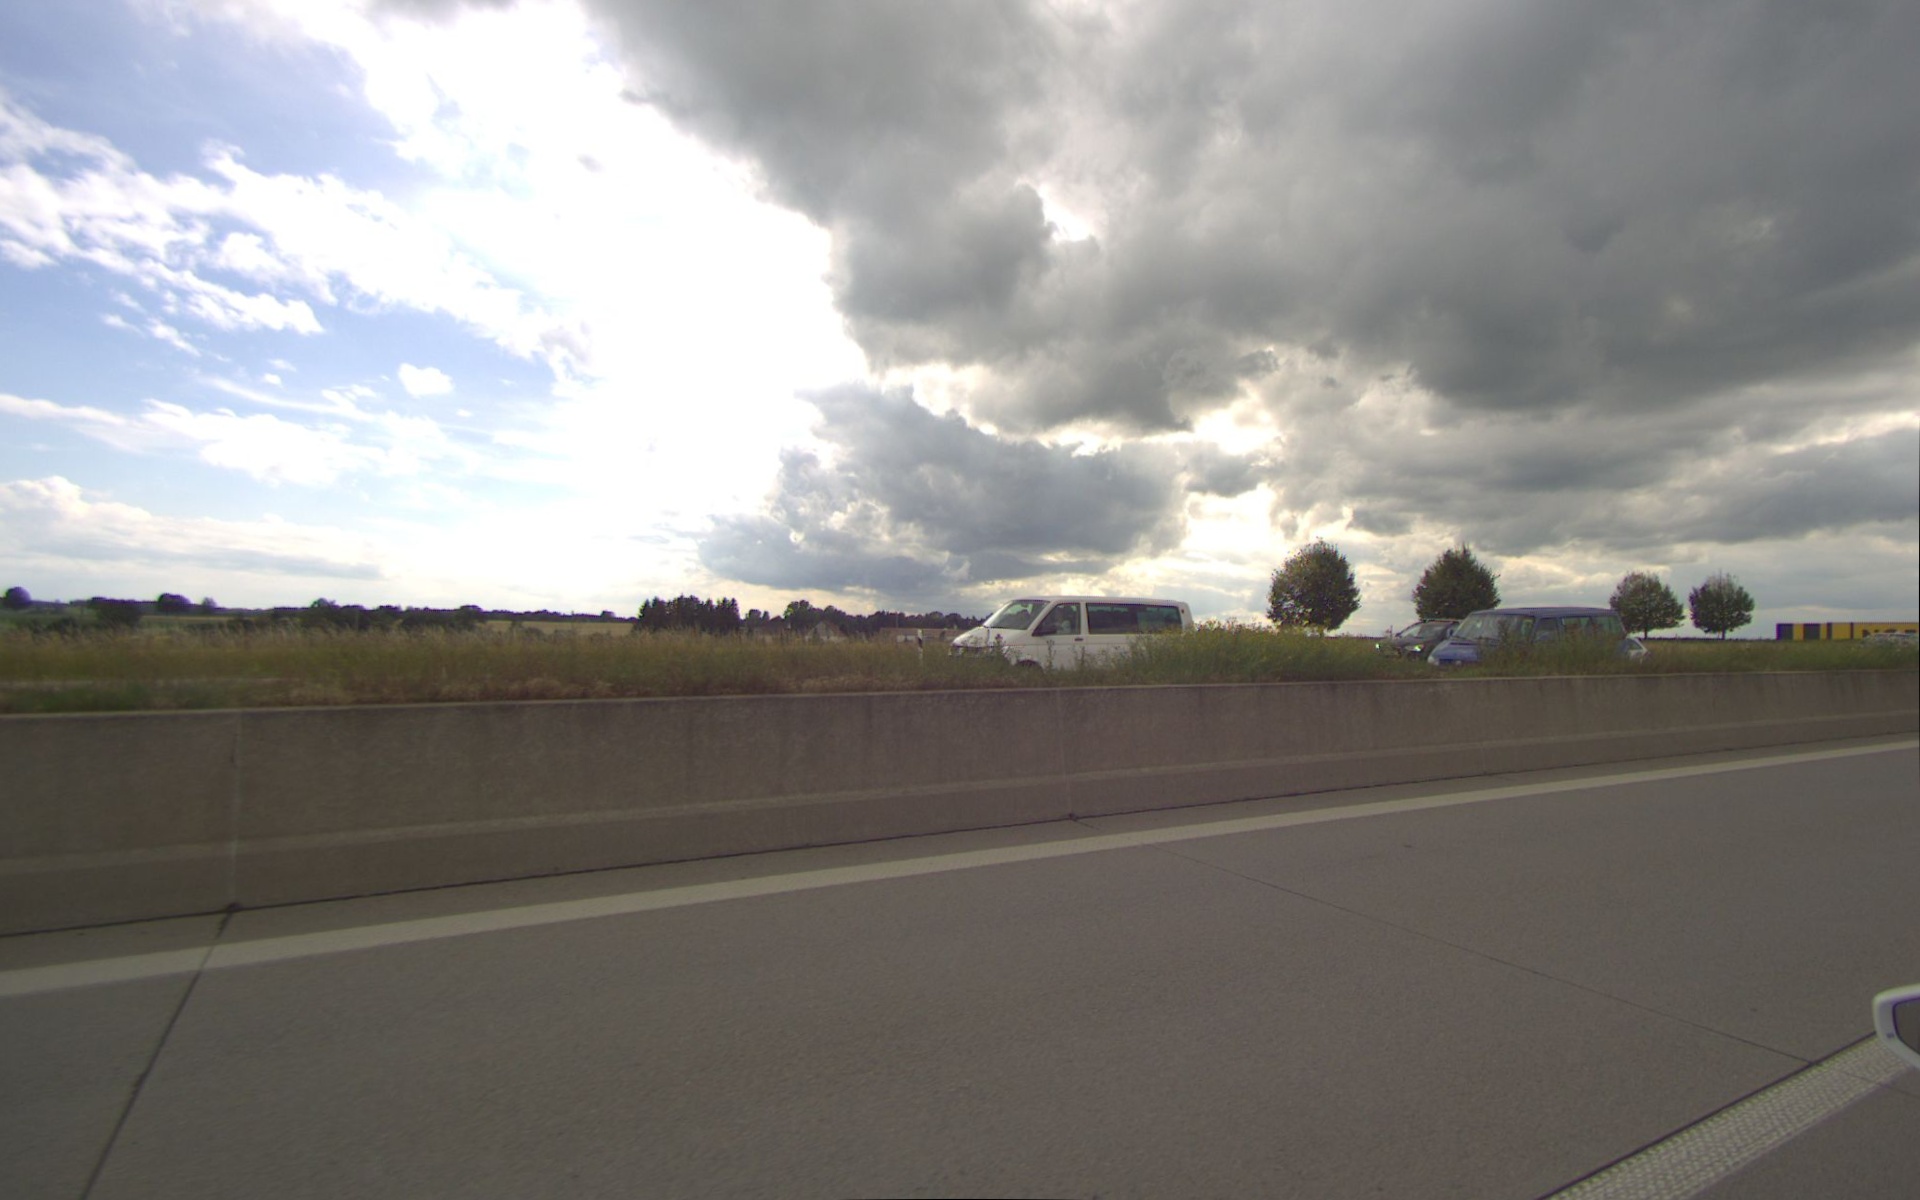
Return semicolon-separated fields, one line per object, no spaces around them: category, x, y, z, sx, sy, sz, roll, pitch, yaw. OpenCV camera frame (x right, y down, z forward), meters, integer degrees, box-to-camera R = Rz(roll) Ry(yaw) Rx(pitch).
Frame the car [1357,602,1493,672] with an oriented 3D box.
car;14.745;1.171;31.830;3.953;2.040;1.984;2;0;-30

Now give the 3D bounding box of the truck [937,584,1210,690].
truck;2.246;0.719;19.393;5.067;1.830;1.937;2;0;-30

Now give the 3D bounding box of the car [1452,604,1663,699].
car;12.256;1.033;20.576;4.061;1.751;1.984;2;0;-30
